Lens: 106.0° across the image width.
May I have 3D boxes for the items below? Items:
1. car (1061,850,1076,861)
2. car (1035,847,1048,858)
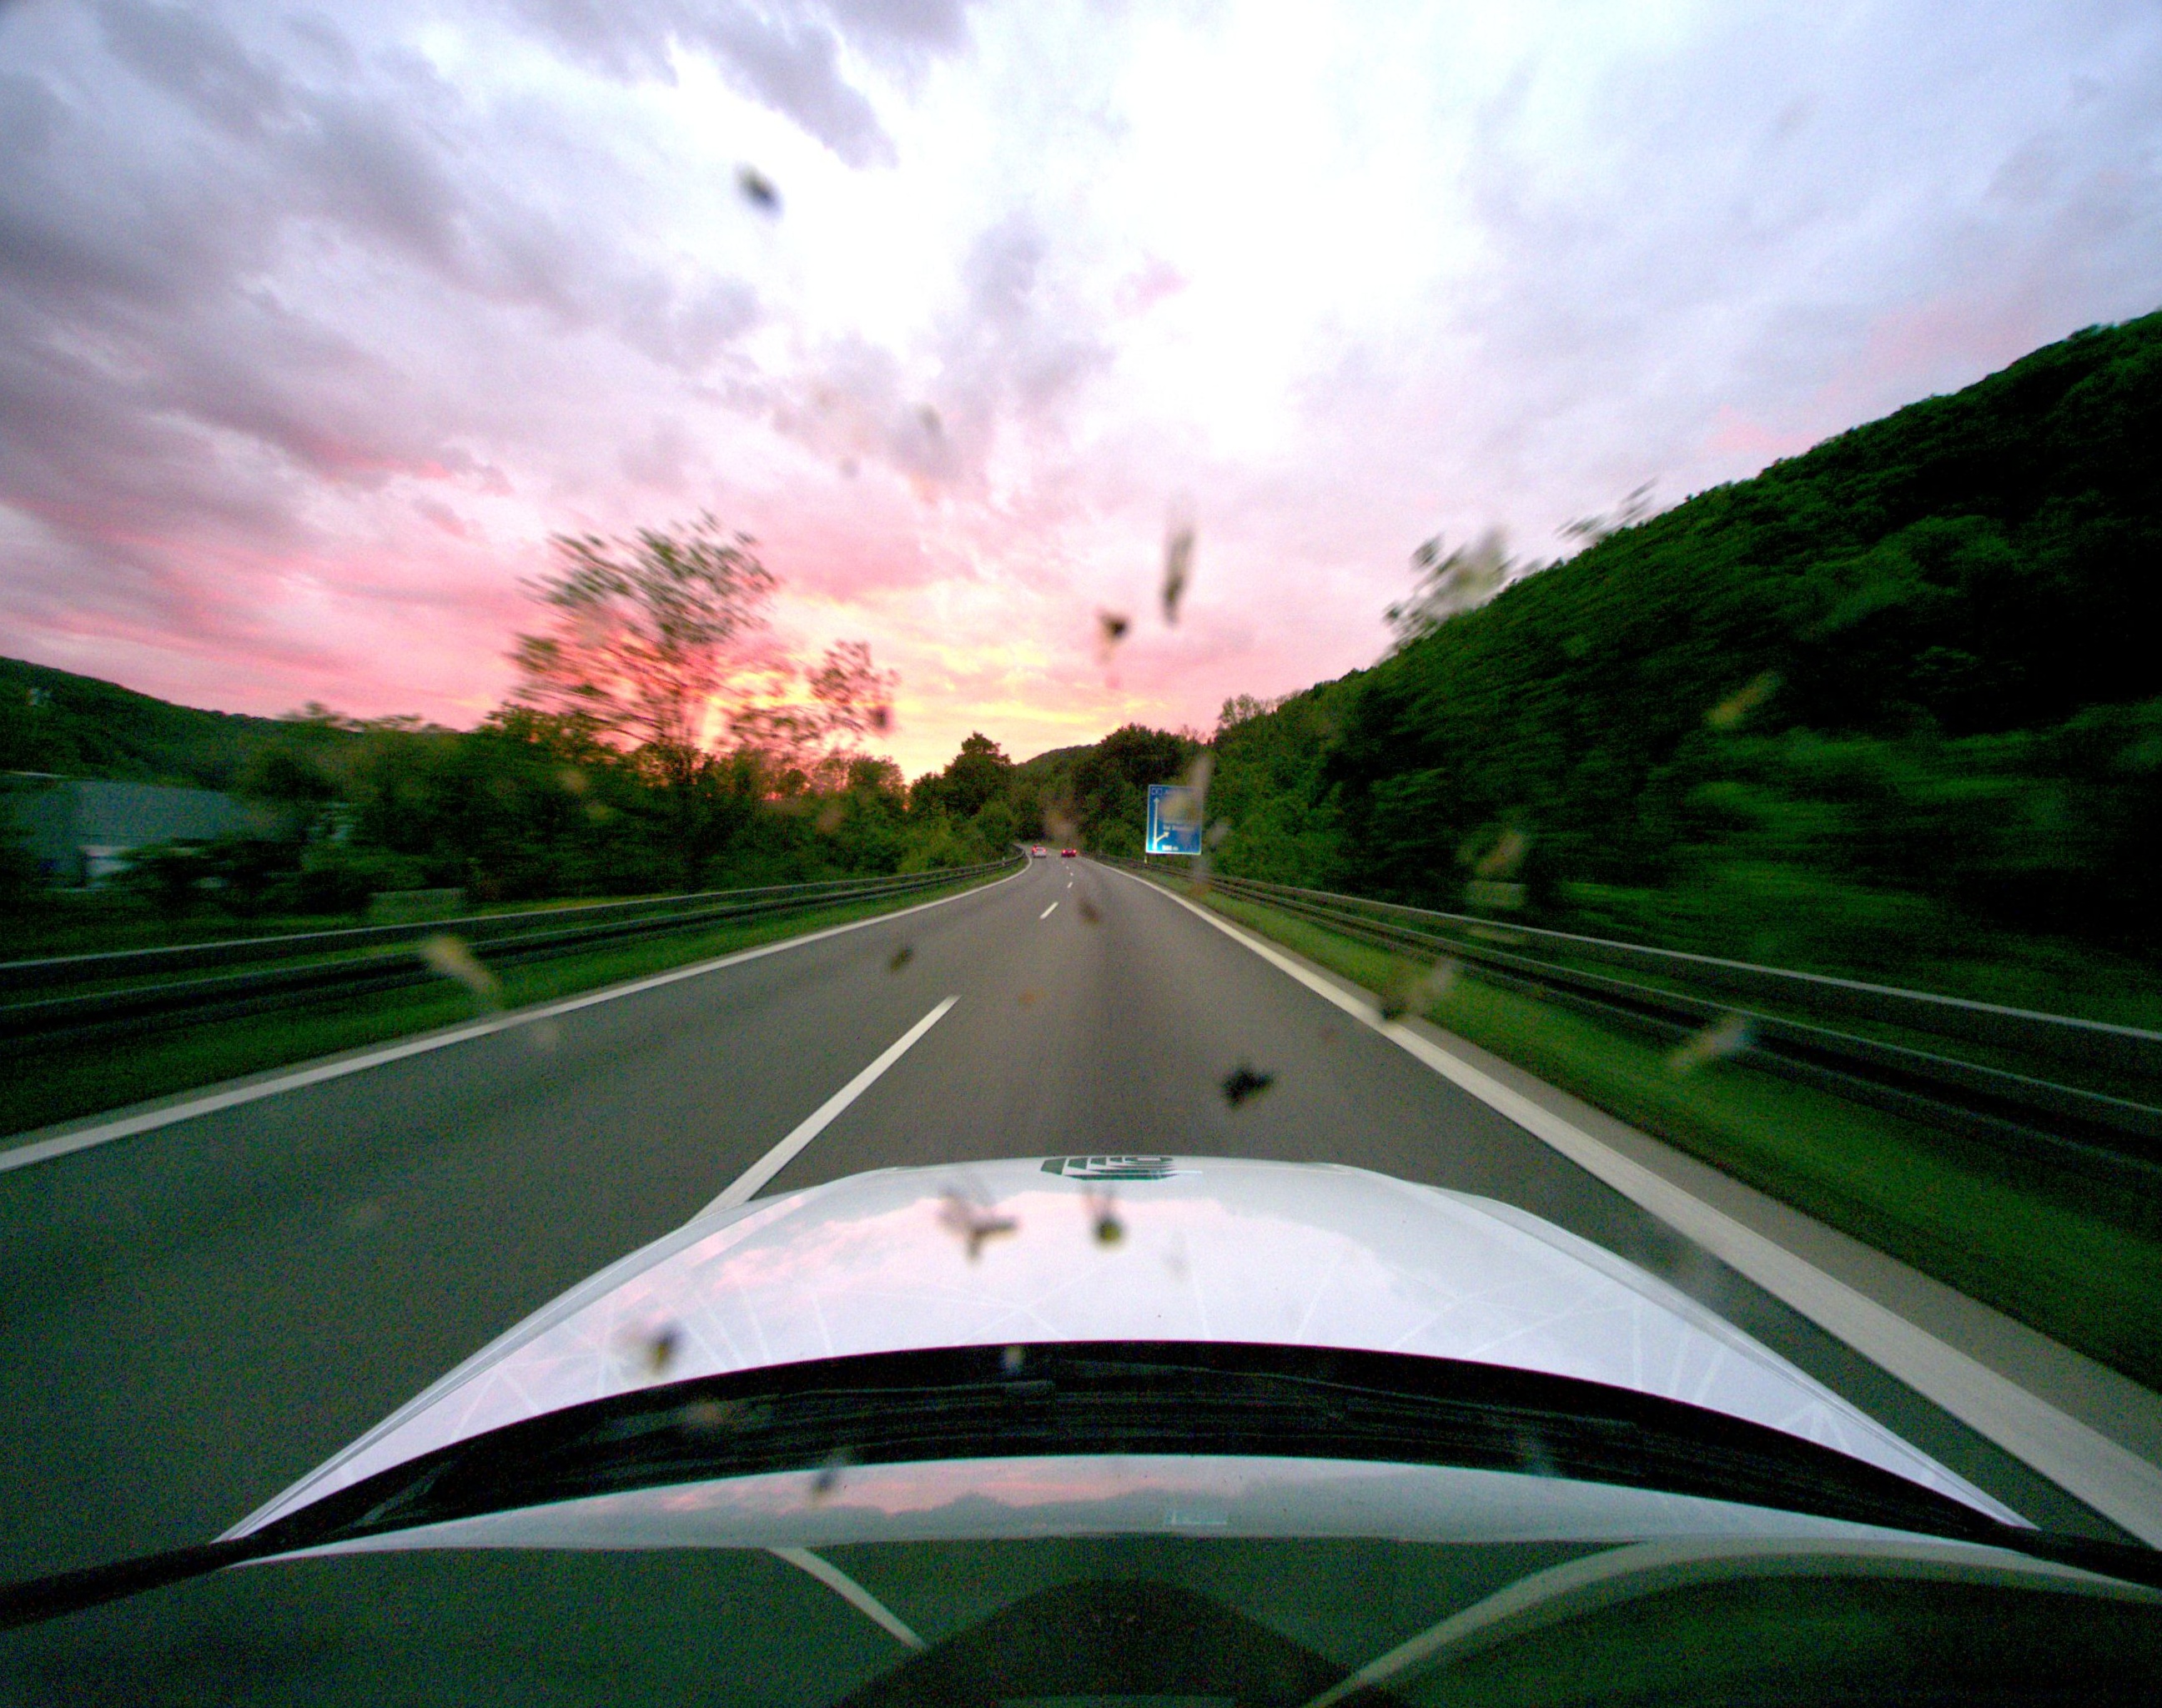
[{"bbox_3d":[-1.834,0.259,118.501,1.871,1.466,4.001,-5,-1,2],"label":"car"},{"bbox_3d":[-5.653,-0.151,117.391,1.713,1.501,3.997,1,-1,-1],"label":"car"}]
